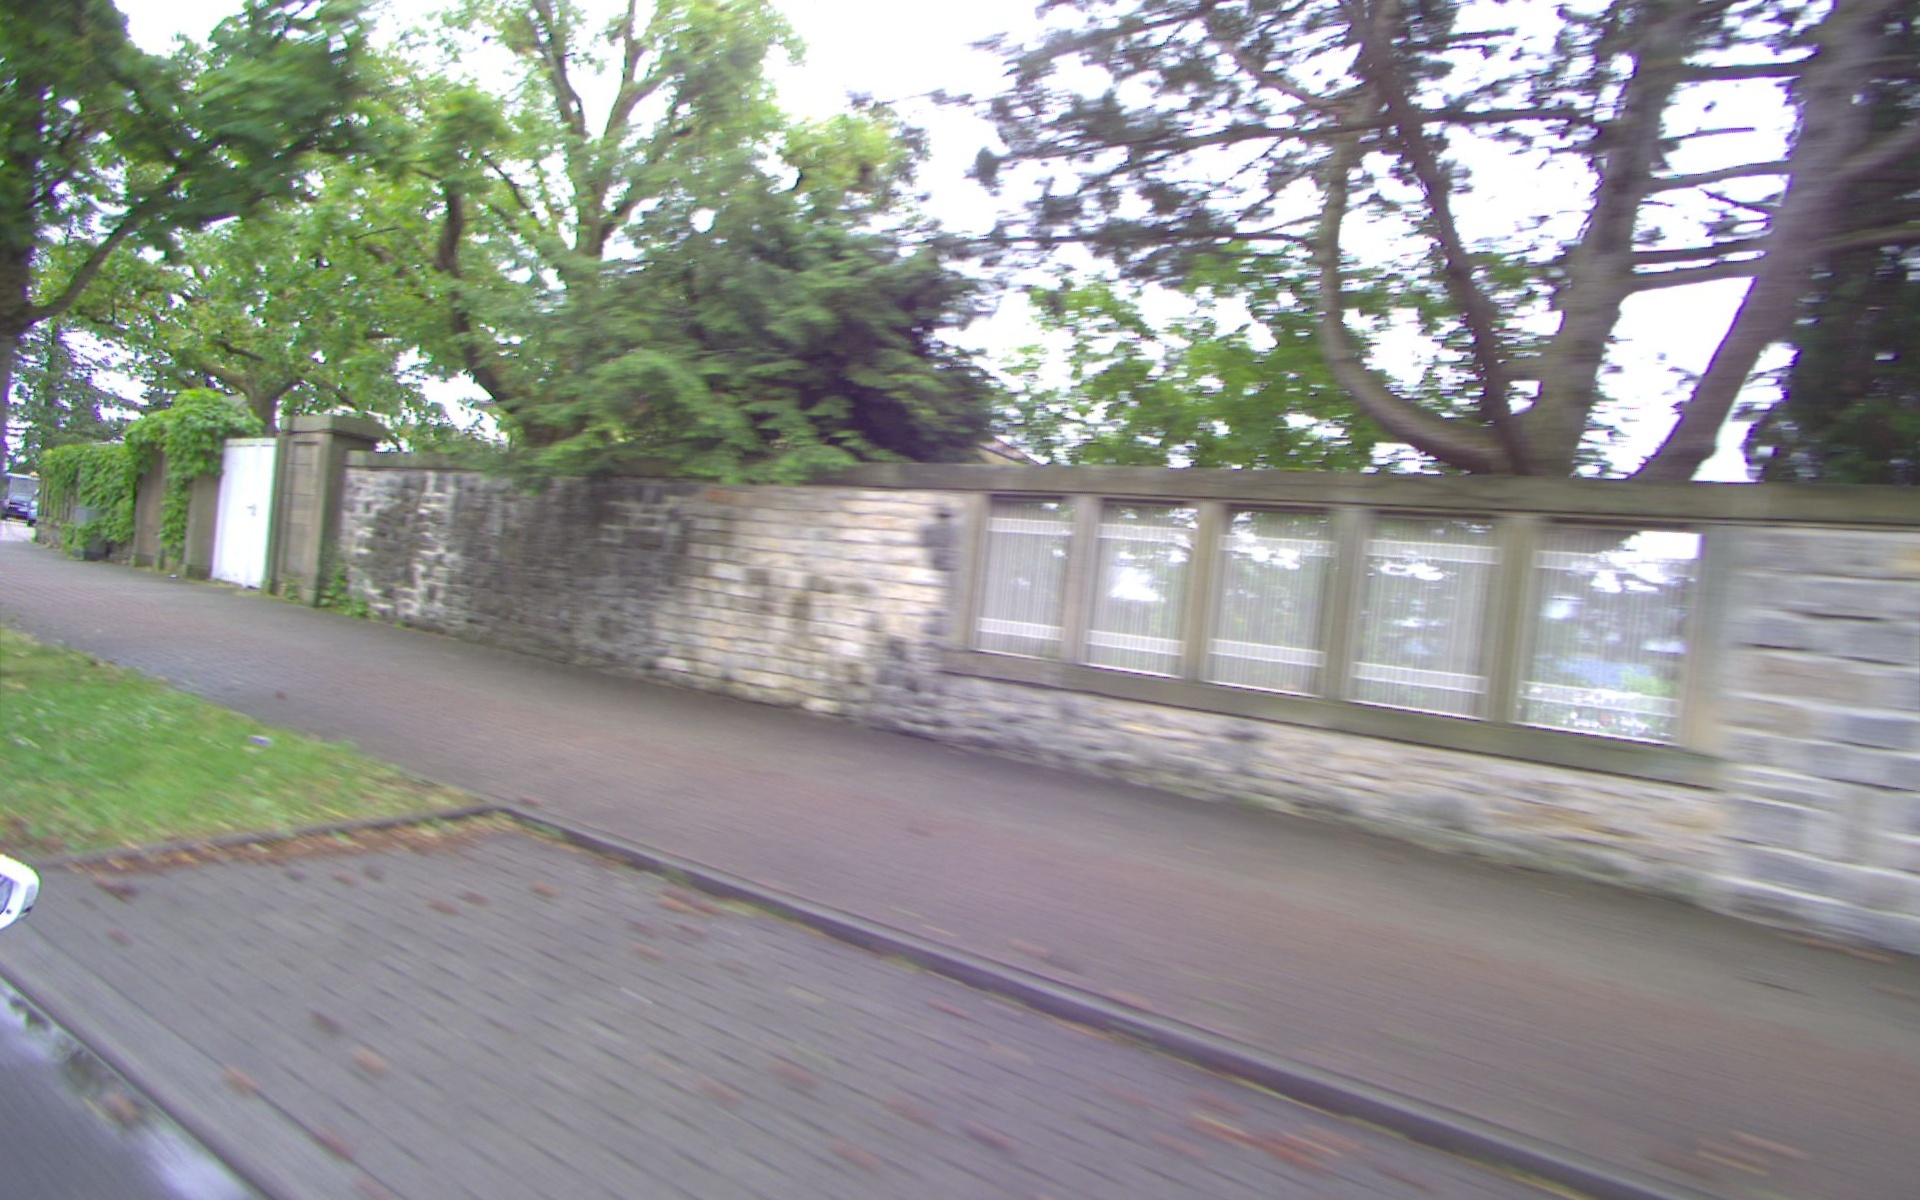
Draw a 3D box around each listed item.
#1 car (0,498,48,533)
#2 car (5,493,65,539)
[{"bbox_3d":[-48.322,-4.340,51.903,1.765,1.516,4.489,6,0,-43],"label":"car"},{"bbox_3d":[-39.564,-3.590,43.061,1.737,1.631,3.952,6,0,-43],"label":"car"}]
